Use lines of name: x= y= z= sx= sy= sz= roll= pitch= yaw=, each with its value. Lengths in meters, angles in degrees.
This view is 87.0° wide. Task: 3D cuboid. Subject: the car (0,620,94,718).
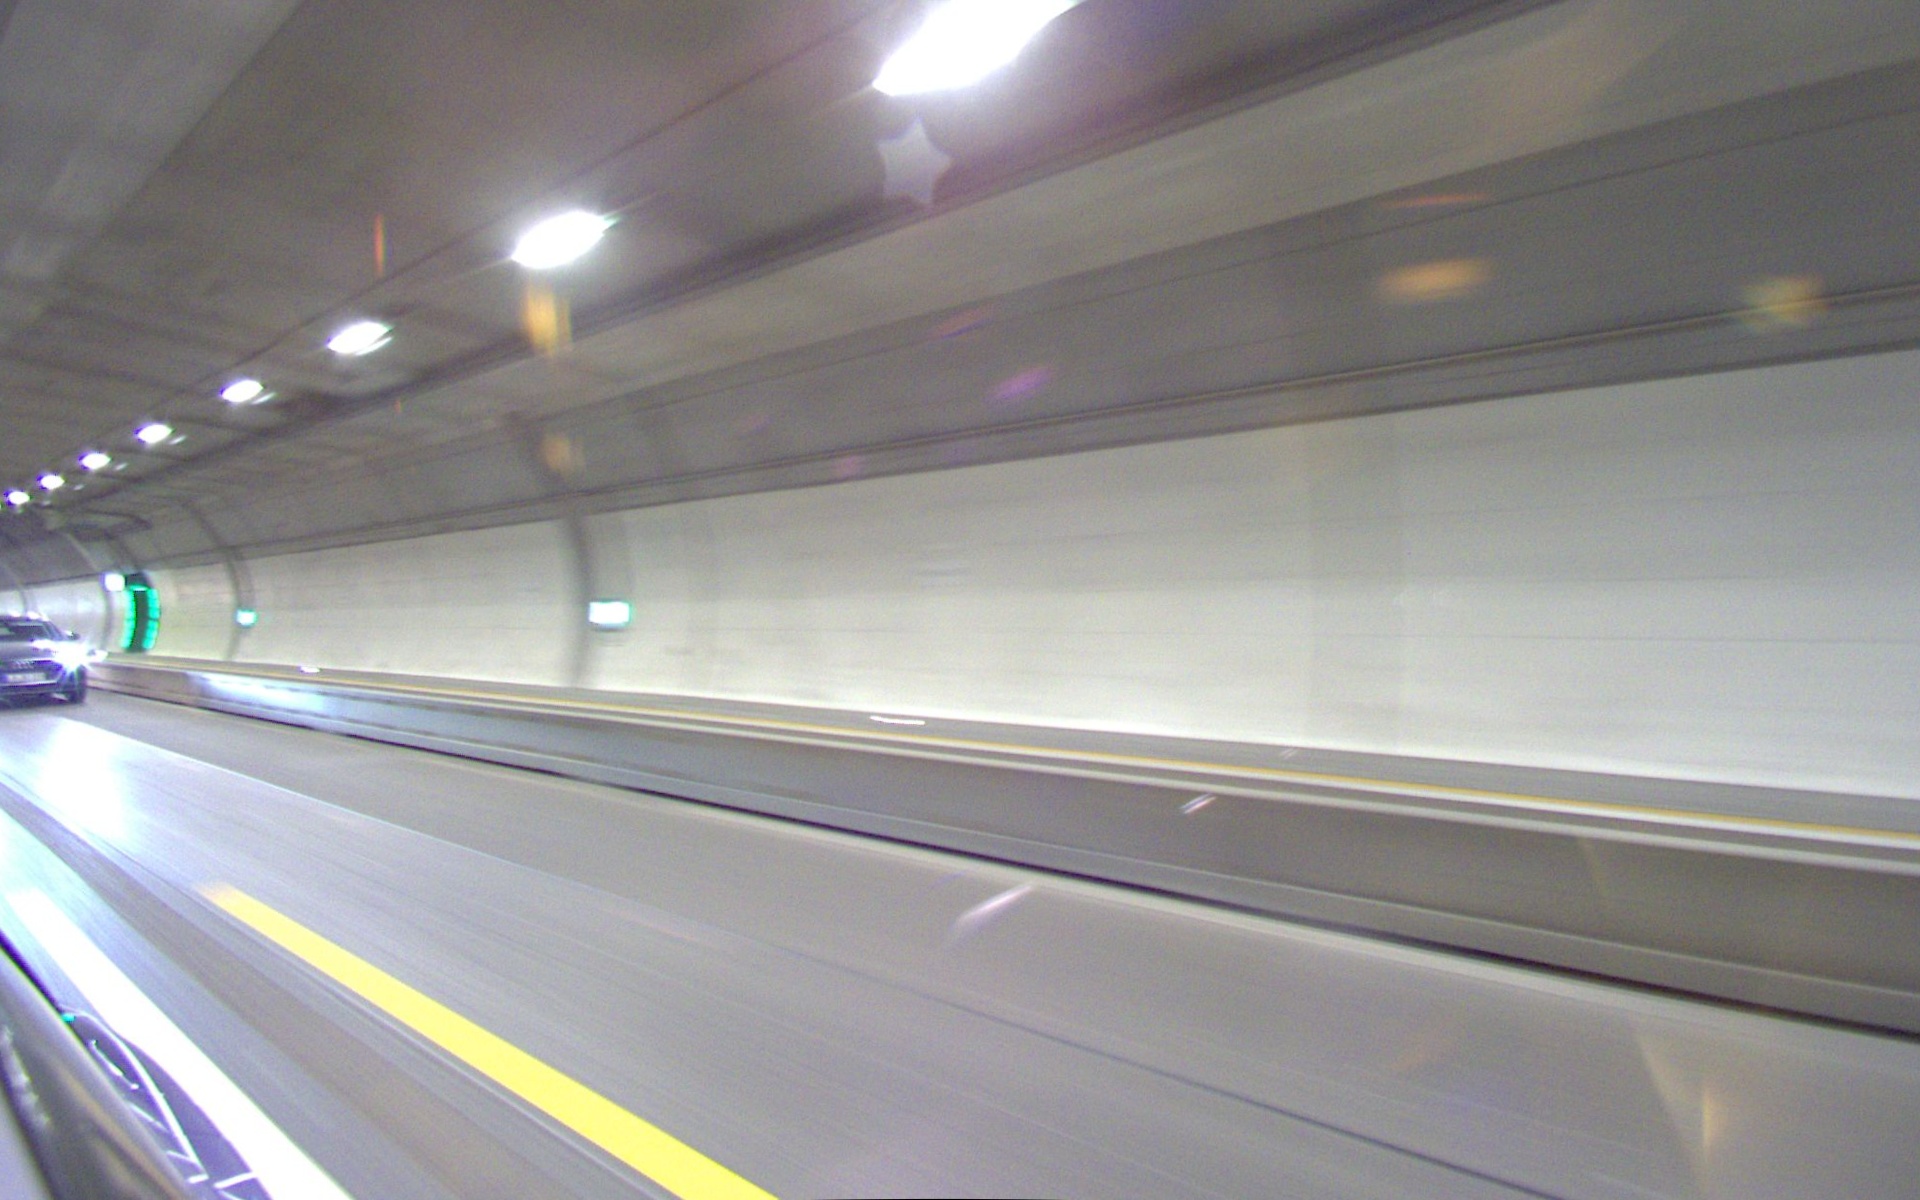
car: x=-17.061 y=1.144 z=17.853 sx=4.738 sy=1.552 sz=1.973 roll=-1 pitch=-1 yaw=40
